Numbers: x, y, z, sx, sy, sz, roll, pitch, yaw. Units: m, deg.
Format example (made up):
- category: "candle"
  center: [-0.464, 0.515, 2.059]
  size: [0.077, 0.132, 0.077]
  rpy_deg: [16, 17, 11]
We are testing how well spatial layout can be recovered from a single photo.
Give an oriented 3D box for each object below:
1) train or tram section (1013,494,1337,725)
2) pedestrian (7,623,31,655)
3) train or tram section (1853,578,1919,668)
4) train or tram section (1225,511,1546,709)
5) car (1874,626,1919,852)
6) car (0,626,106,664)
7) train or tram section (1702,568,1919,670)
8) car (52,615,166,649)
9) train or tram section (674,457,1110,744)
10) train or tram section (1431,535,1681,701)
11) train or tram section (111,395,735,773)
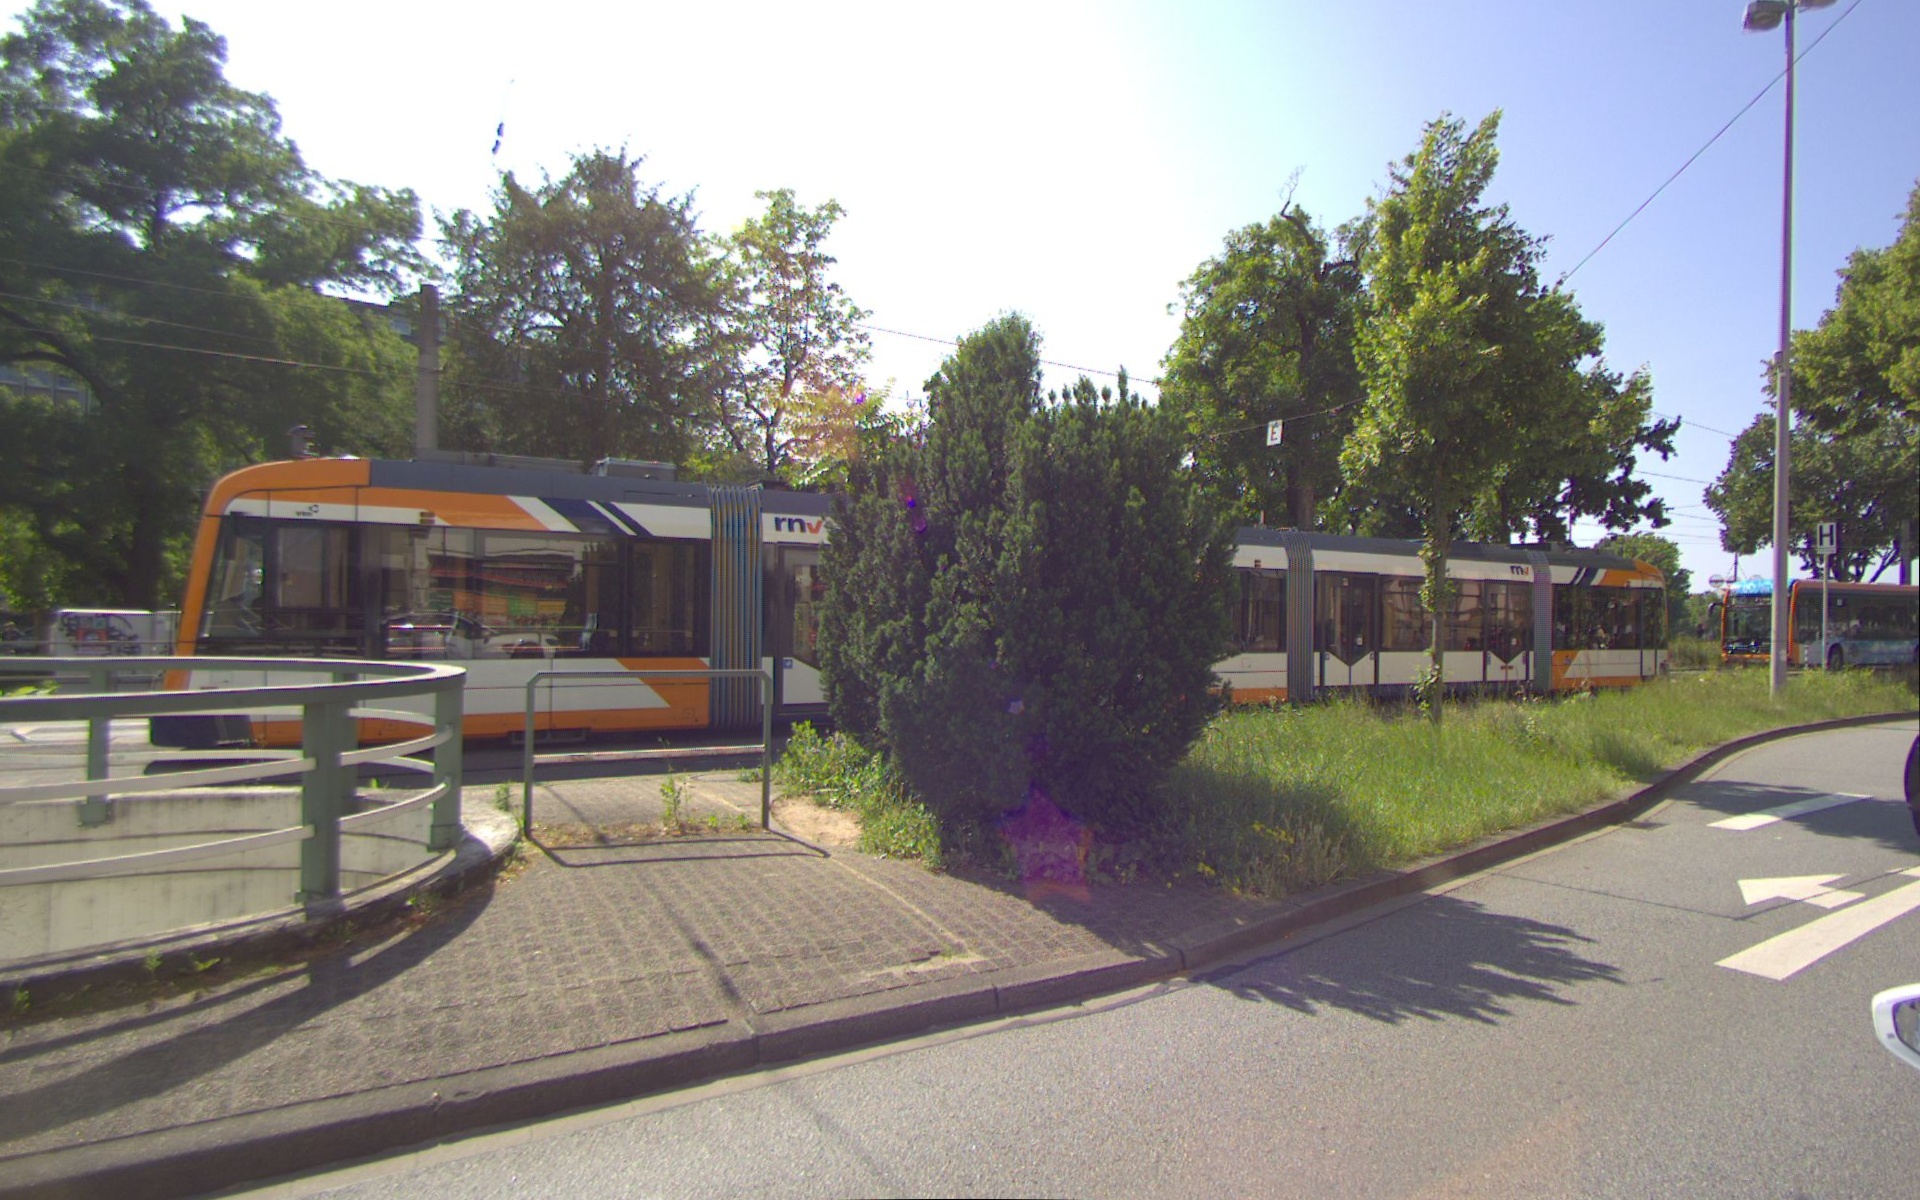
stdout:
- category: "train or tram section"
  center: [3.921, 0.207, 18.200]
  size: [5.294, 3.629, 2.601]
  rpy_deg: [2, 0, -30]
- category: "pedestrian"
  center: [-38.626, 1.605, 41.226]
  size: [0.655, 1.279, 0.744]
  rpy_deg: [2, -4, -42]
- category: "train or tram section"
  center: [42.361, 1.056, 42.862]
  size: [8.102, 3.629, 2.818]
  rpy_deg: [2, 0, -20]
- category: "train or tram section"
  center: [9.096, 0.259, 21.250]
  size: [6.817, 3.629, 2.601]
  rpy_deg: [2, 0, -30]
- category: "car"
  center: [8.387, 0.960, 7.102]
  size: [3.954, 1.494, 1.769]
  rpy_deg: [2, -3, -31]
- category: "car"
  center: [-40.408, 1.988, 44.315]
  size: [3.961, 1.528, 1.743]
  rpy_deg: [2, 0, -36]
- category: "train or tram section"
  center: [33.958, 0.794, 39.561]
  size: [9.886, 3.629, 2.817]
  rpy_deg: [2, 0, -22]
- category: "car"
  center: [-40.367, 1.526, 47.777]
  size: [3.961, 1.528, 1.743]
  rpy_deg: [2, 0, -36]
- category: "train or tram section"
  center: [-0.957, 0.076, 15.323]
  size: [6.032, 3.629, 2.601]
  rpy_deg: [2, 0, -30]
- category: "train or tram section"
  center: [14.579, 0.457, 24.499]
  size: [5.947, 3.629, 2.601]
  rpy_deg: [2, 0, -30]
- category: "train or tram section"
  center: [-6.132, -0.086, 12.298]
  size: [6.032, 3.629, 2.601]
  rpy_deg: [2, 0, -30]
